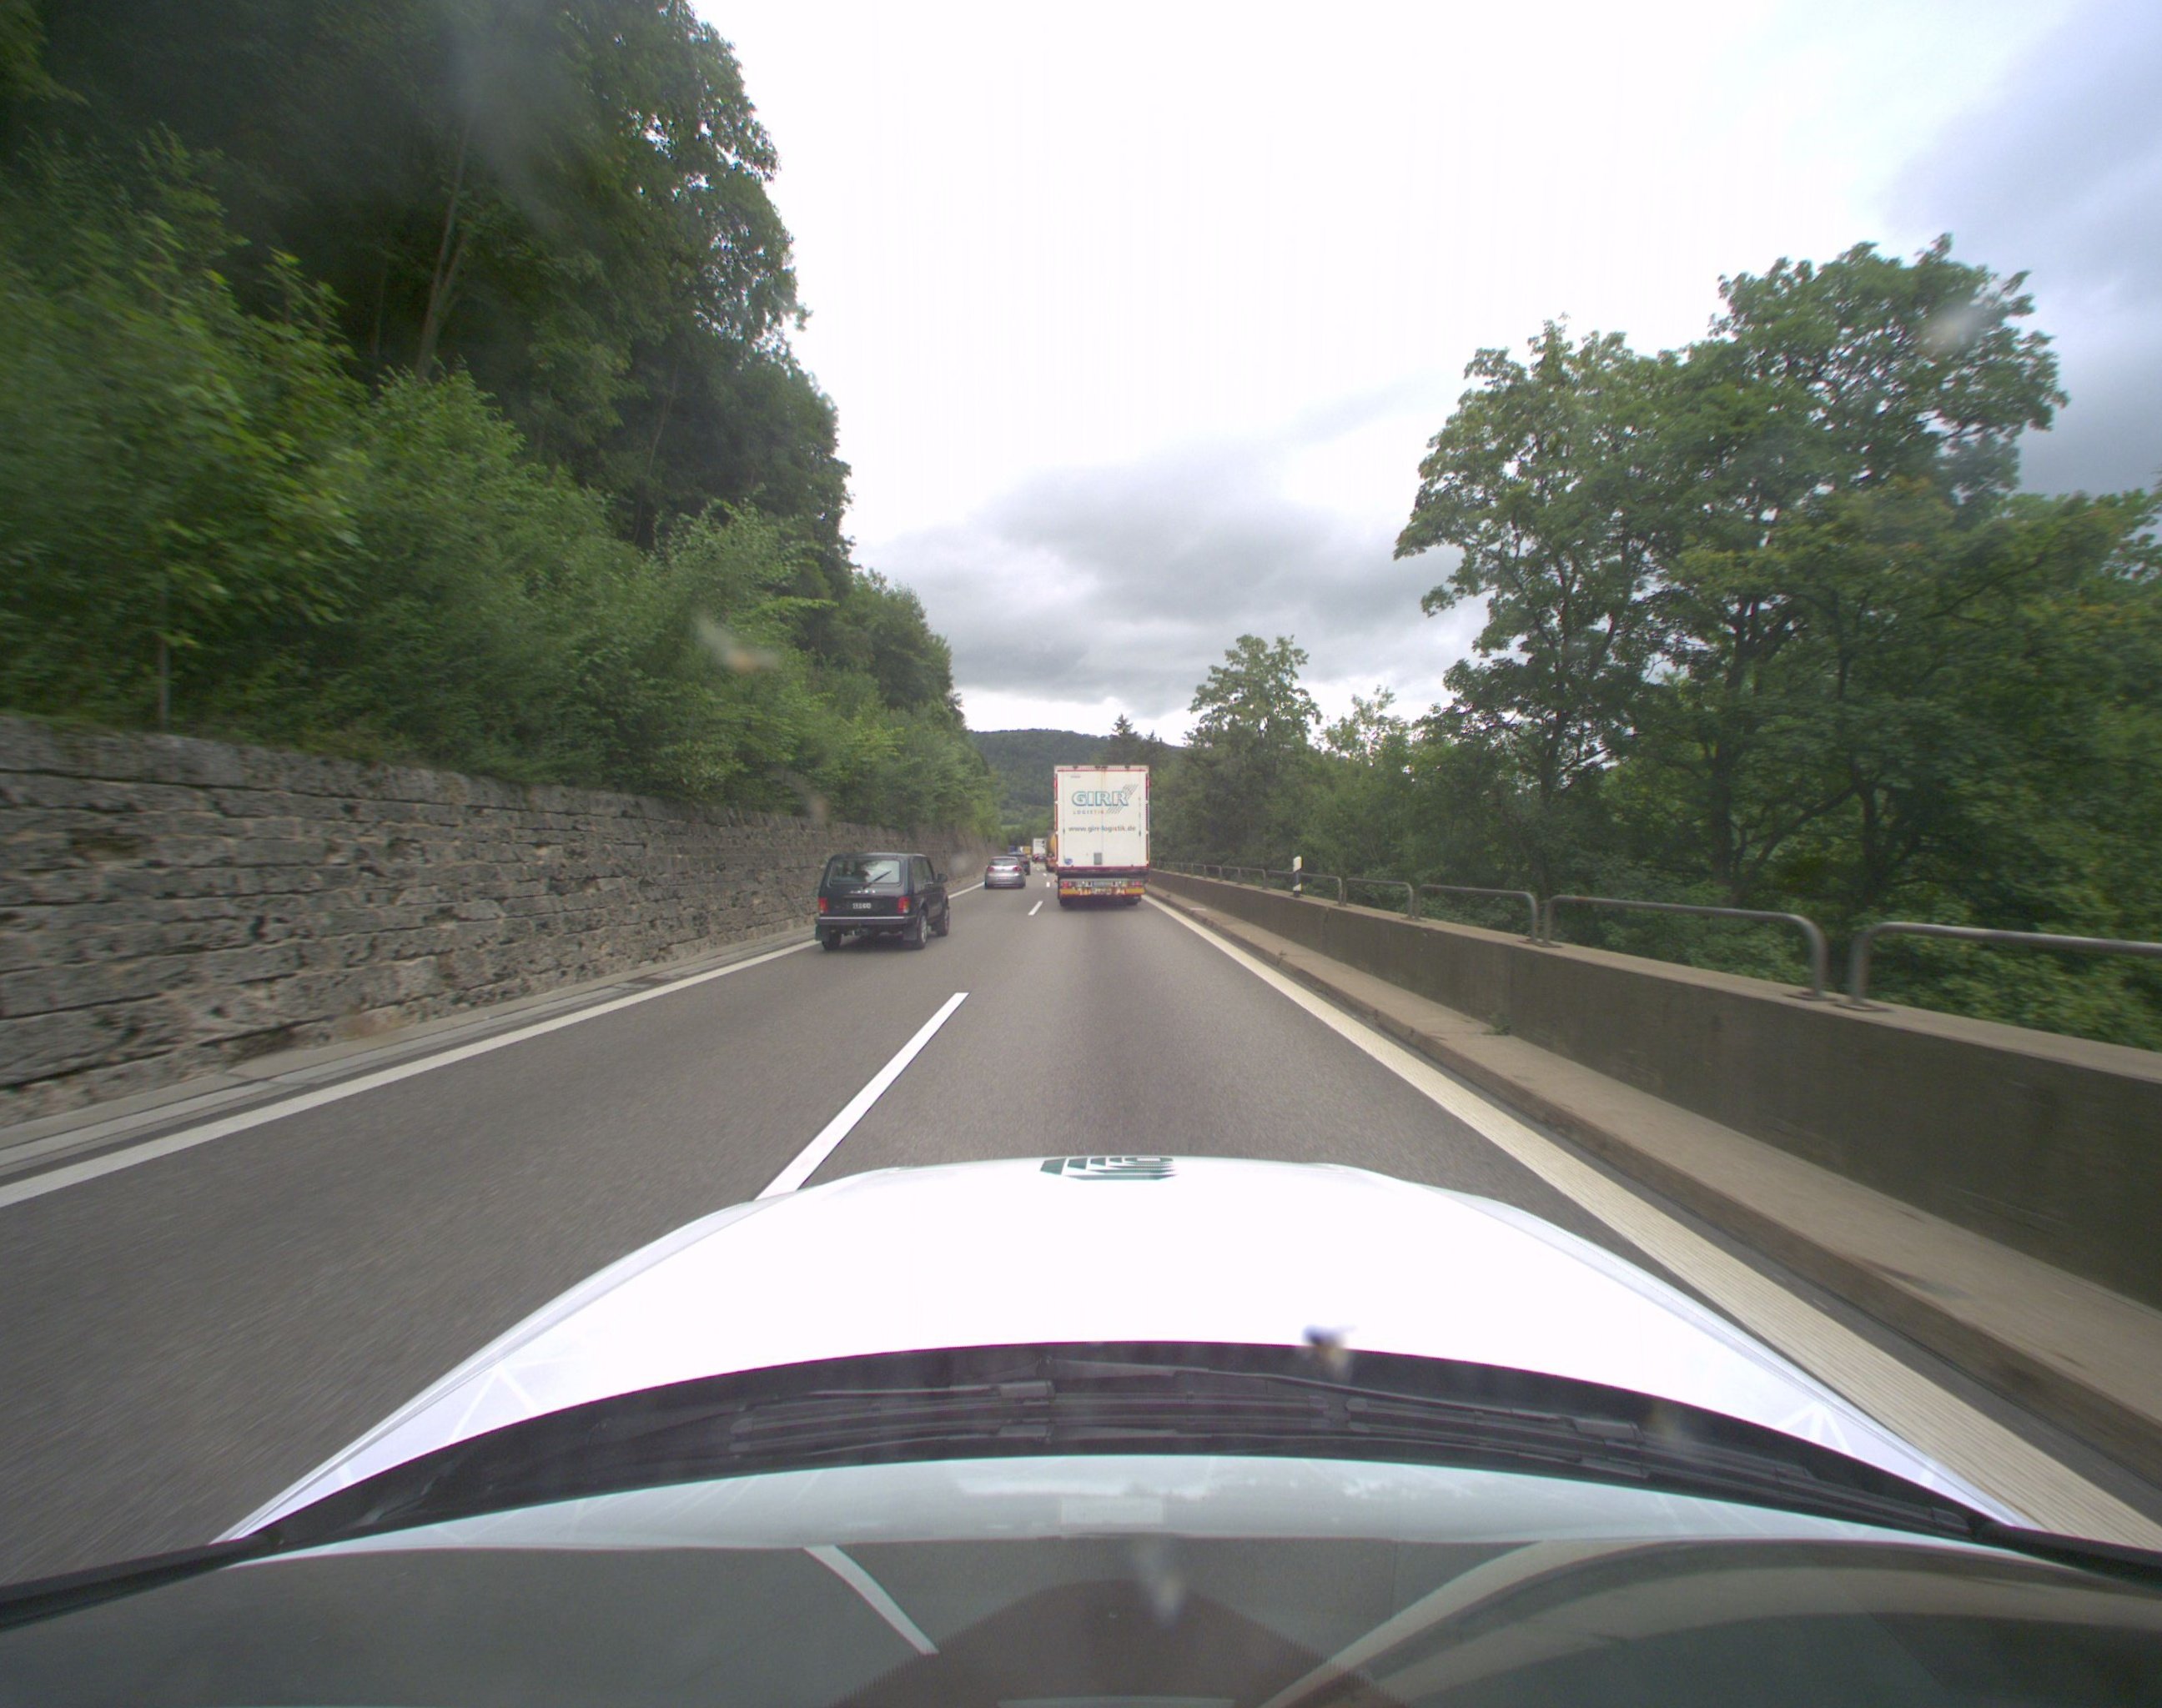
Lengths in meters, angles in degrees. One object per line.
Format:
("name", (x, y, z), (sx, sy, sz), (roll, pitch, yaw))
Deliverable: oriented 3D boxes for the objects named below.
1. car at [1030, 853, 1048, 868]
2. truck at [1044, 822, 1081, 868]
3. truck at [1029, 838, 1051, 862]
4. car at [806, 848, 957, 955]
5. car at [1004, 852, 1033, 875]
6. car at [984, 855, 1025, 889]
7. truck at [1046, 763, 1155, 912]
("car", (-5.876, 0.880, 114.052), (1.985, 2.014, 4.003), (0, -1, 3))
("truck", (-1.662, -0.653, 68.438), (2.482, 3.571, 9.291), (0, 0, -5))
("truck", (-6.919, -0.671, 139.505), (3.502, 3.847, 11.765), (0, -1, -2))
("car", (-3.362, 0.740, 14.492), (1.663, 1.639, 4.068), (0, 0, 0))
("car", (-4.532, 0.674, 59.223), (1.912, 1.595, 4.175), (0, 0, -2))
("car", (-3.513, 0.813, 38.009), (1.725, 1.486, 3.996), (0, 0, -3))
("truck", (0.535, -0.437, 26.322), (2.899, 3.960, 9.277), (0, 0, 0))
